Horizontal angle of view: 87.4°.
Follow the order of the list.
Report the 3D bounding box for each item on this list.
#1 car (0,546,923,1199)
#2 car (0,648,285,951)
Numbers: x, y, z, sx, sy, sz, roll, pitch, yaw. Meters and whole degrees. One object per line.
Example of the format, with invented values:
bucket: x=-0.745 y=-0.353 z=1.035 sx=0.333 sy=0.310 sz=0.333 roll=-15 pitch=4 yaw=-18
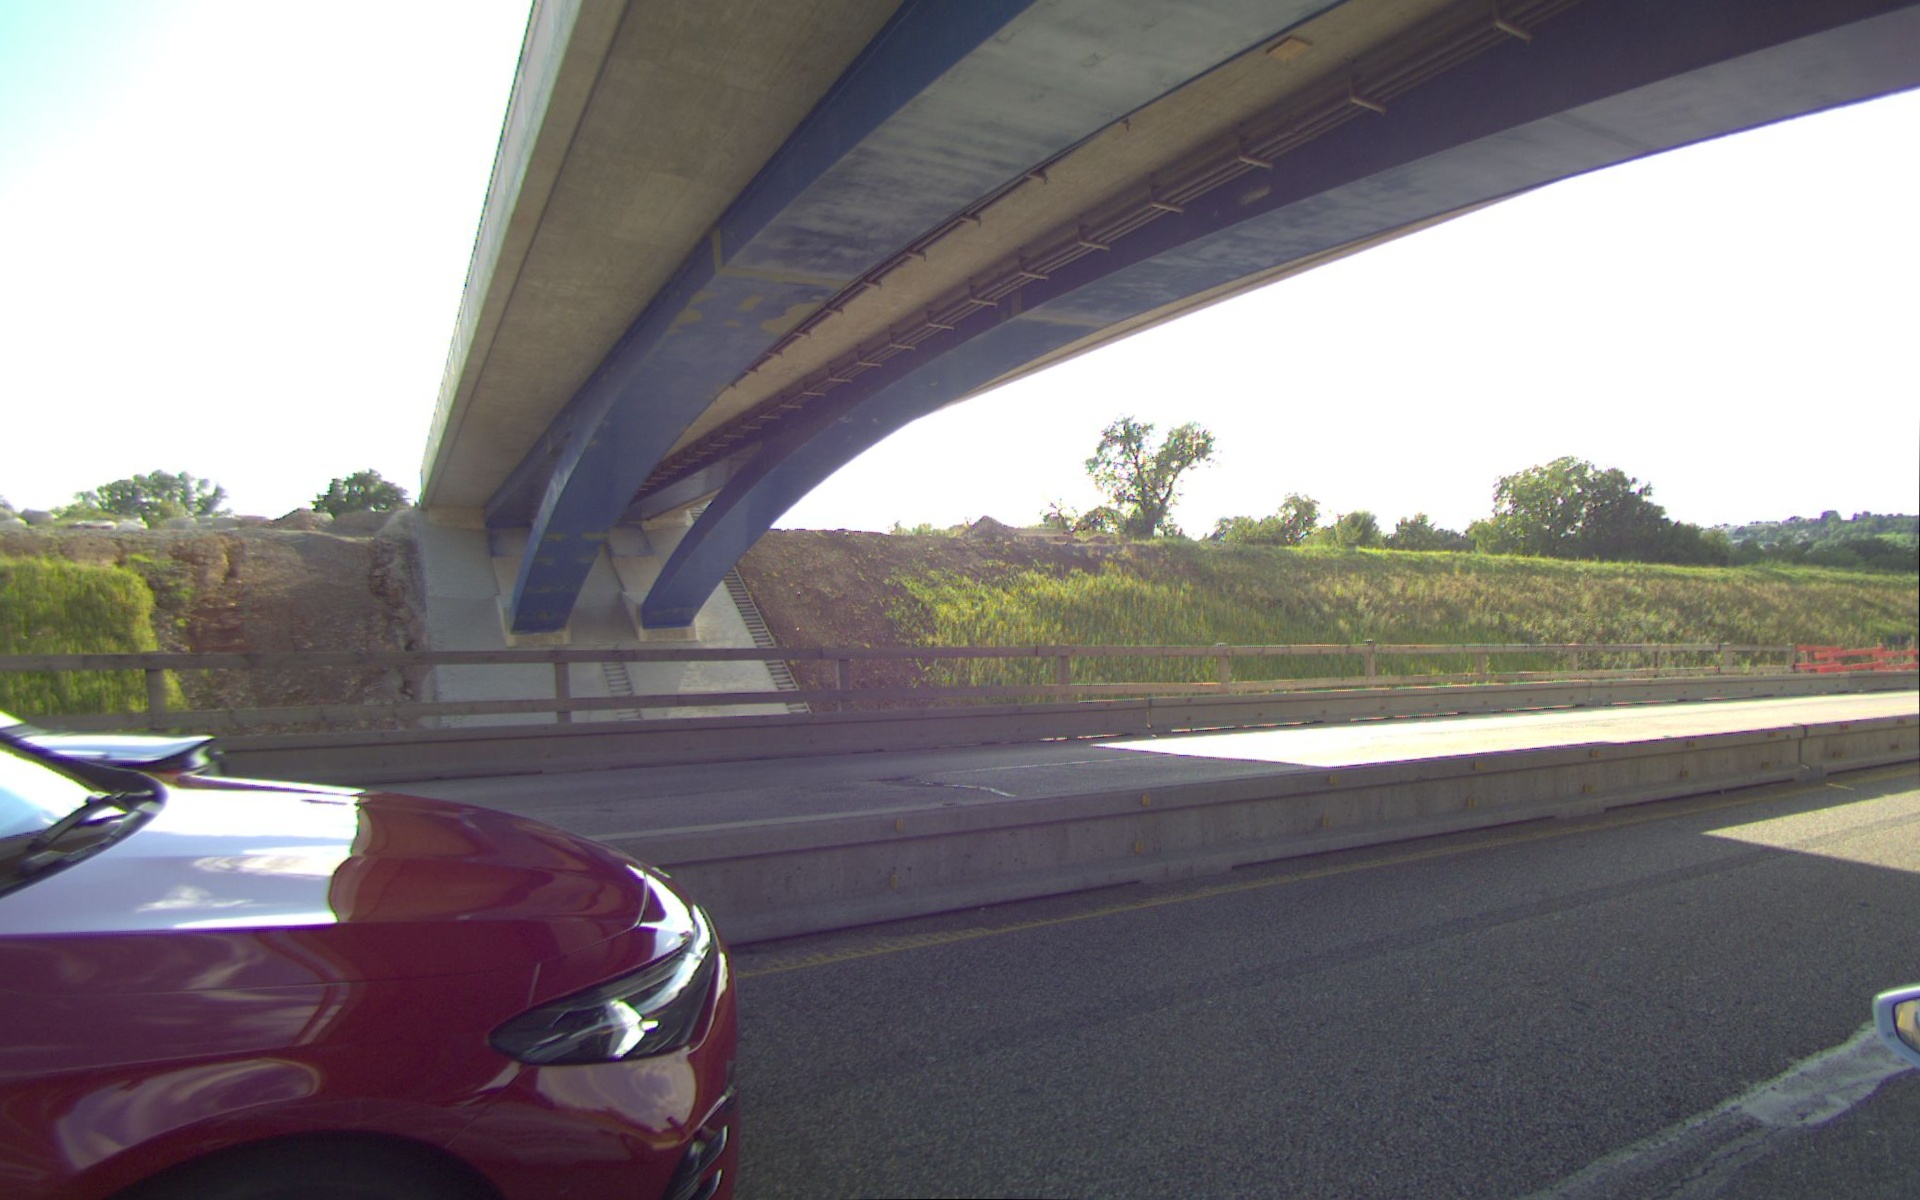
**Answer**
car: x=-2.520 y=0.651 z=1.472 sx=4.630 sy=1.512 sz=1.814 roll=1 pitch=1 yaw=-31
car: x=-5.271 y=0.806 z=3.994 sx=4.169 sy=1.170 sz=1.661 roll=1 pitch=-3 yaw=-31
